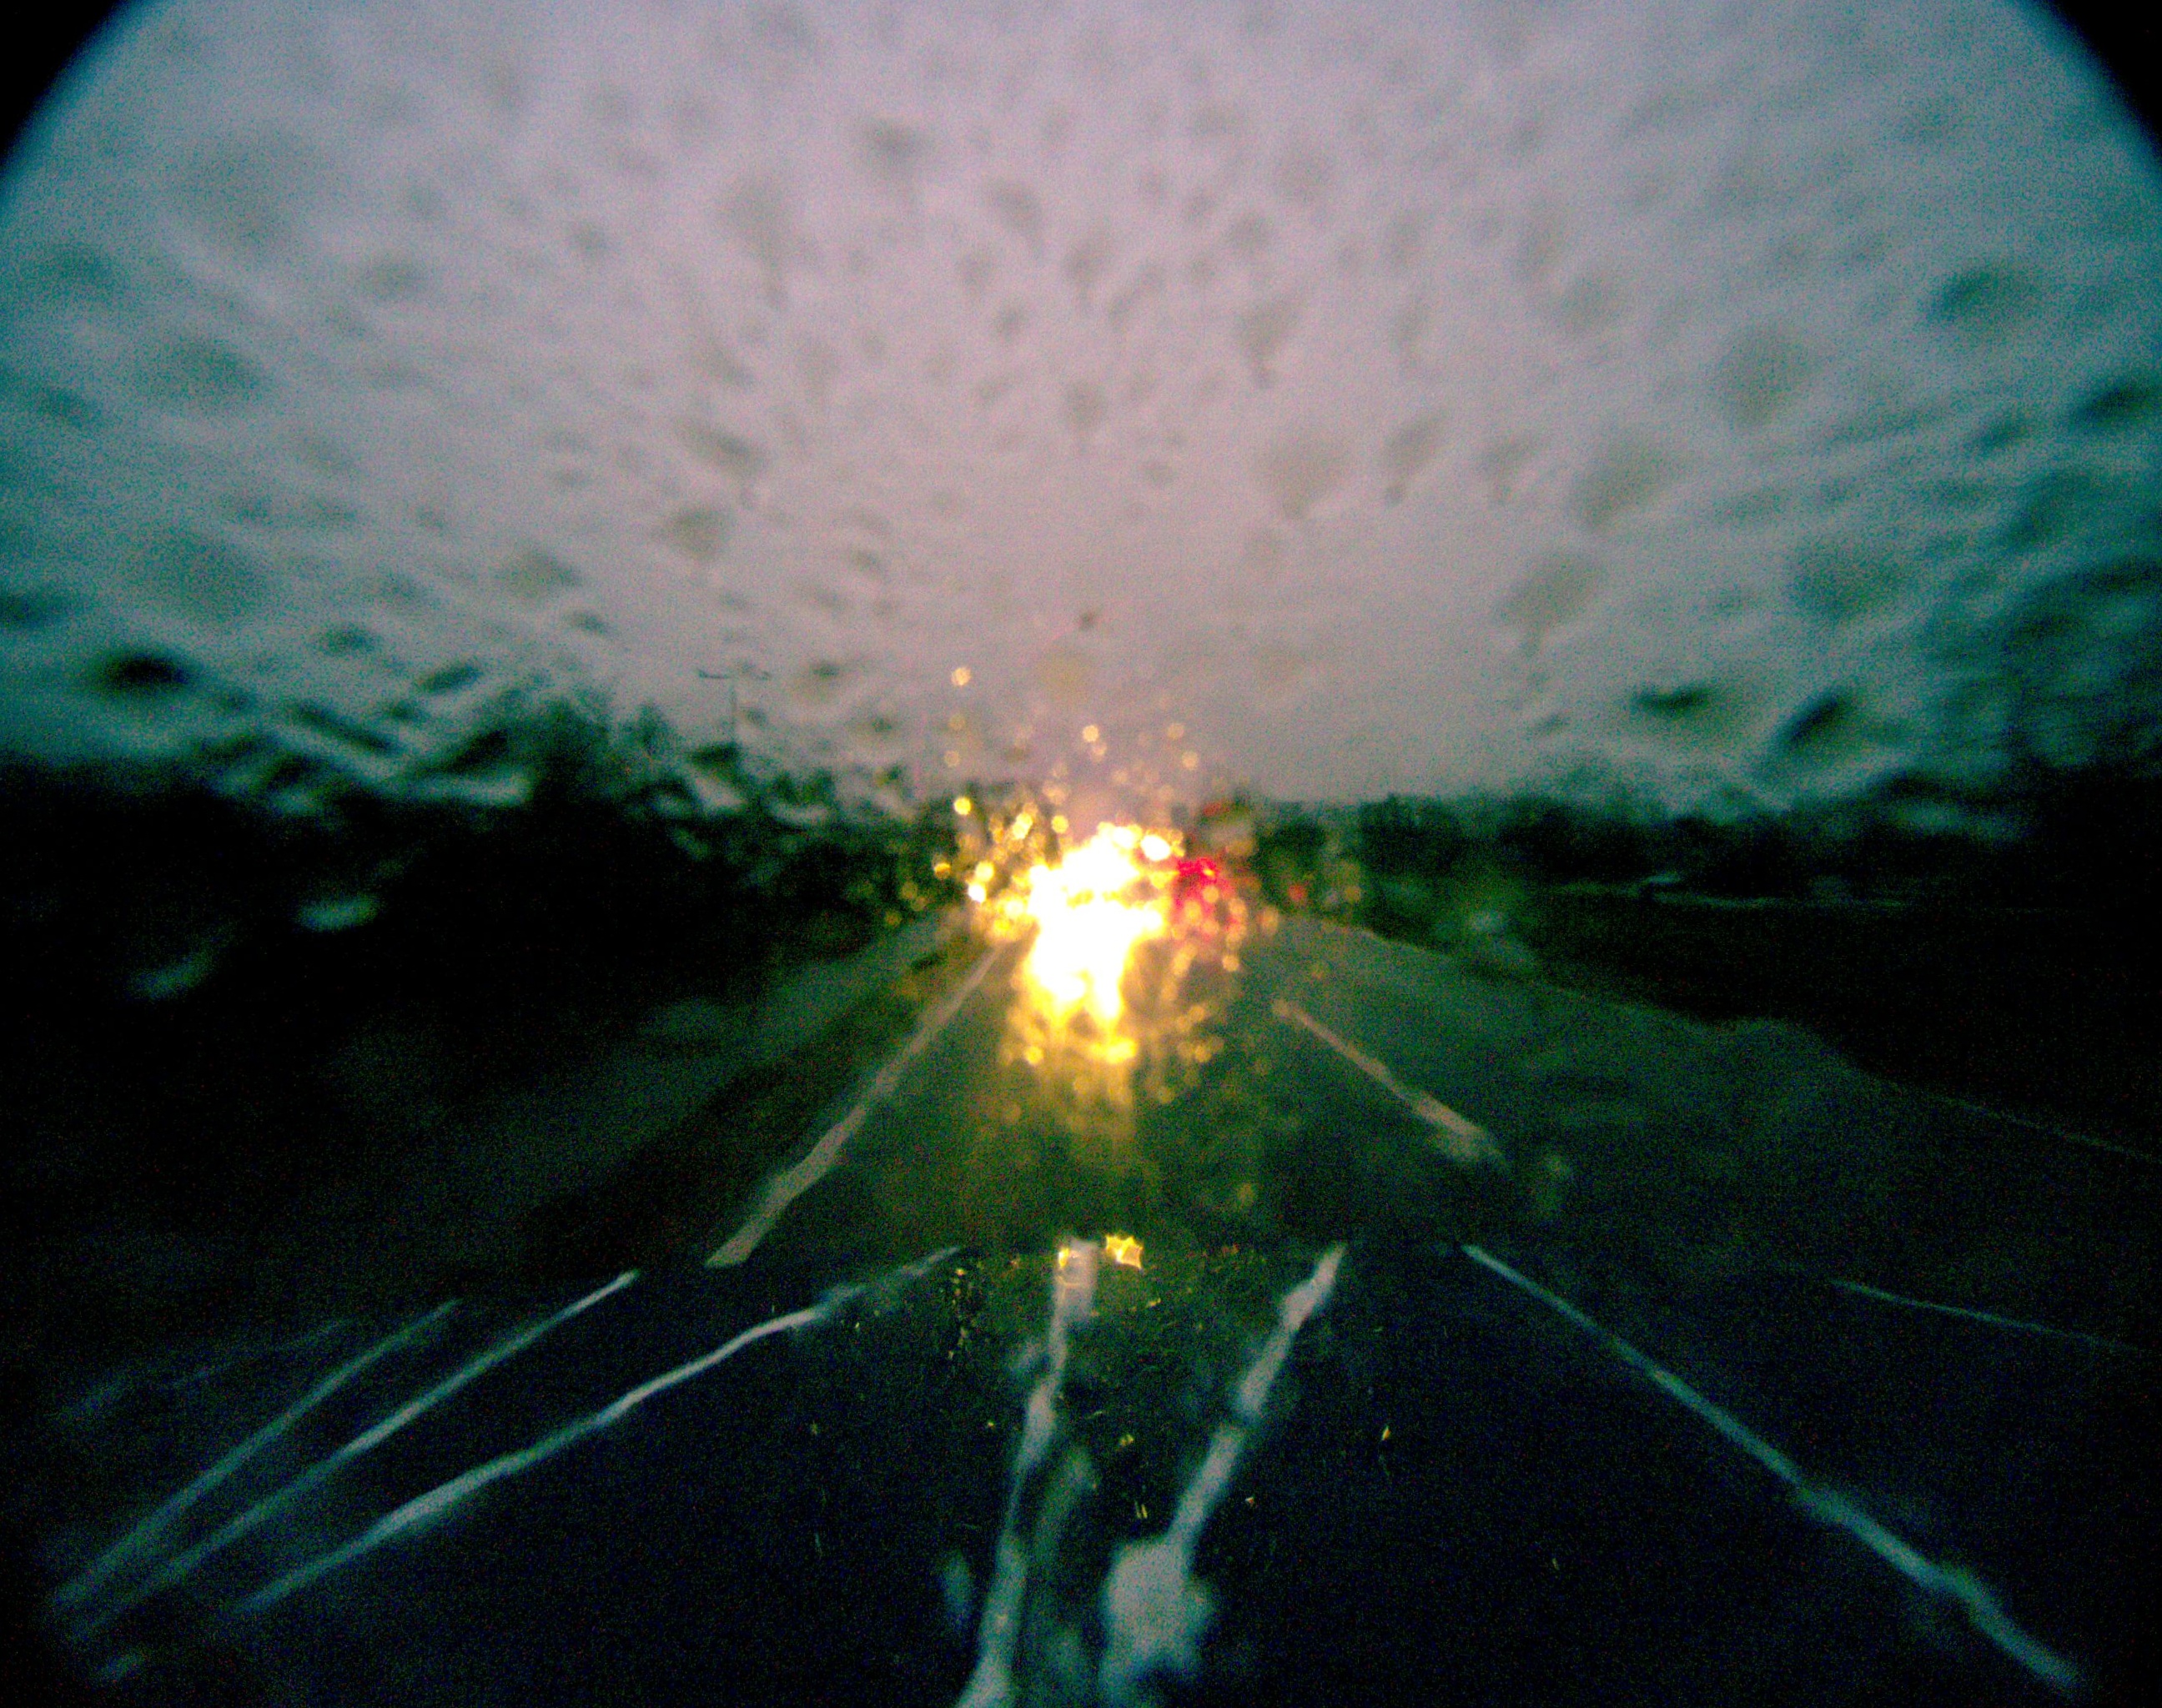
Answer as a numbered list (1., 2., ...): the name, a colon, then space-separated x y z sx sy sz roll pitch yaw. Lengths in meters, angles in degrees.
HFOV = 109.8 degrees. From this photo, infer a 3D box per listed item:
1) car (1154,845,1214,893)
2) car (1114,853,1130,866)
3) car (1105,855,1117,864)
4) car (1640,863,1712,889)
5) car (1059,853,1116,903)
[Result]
1. car: 4.186 0.570 31.567 1.829 1.796 4.493 1 0 0
2. car: 4.926 0.610 92.131 1.766 1.546 4.000 0 0 1
3. car: 5.473 0.925 137.595 1.860 1.508 4.515 1 0 -2
4. car: 35.597 1.286 45.478 3.453 1.334 1.597 -2 1 -13
5. car: 0.230 0.790 27.165 1.860 1.604 4.000 -1 0 1
